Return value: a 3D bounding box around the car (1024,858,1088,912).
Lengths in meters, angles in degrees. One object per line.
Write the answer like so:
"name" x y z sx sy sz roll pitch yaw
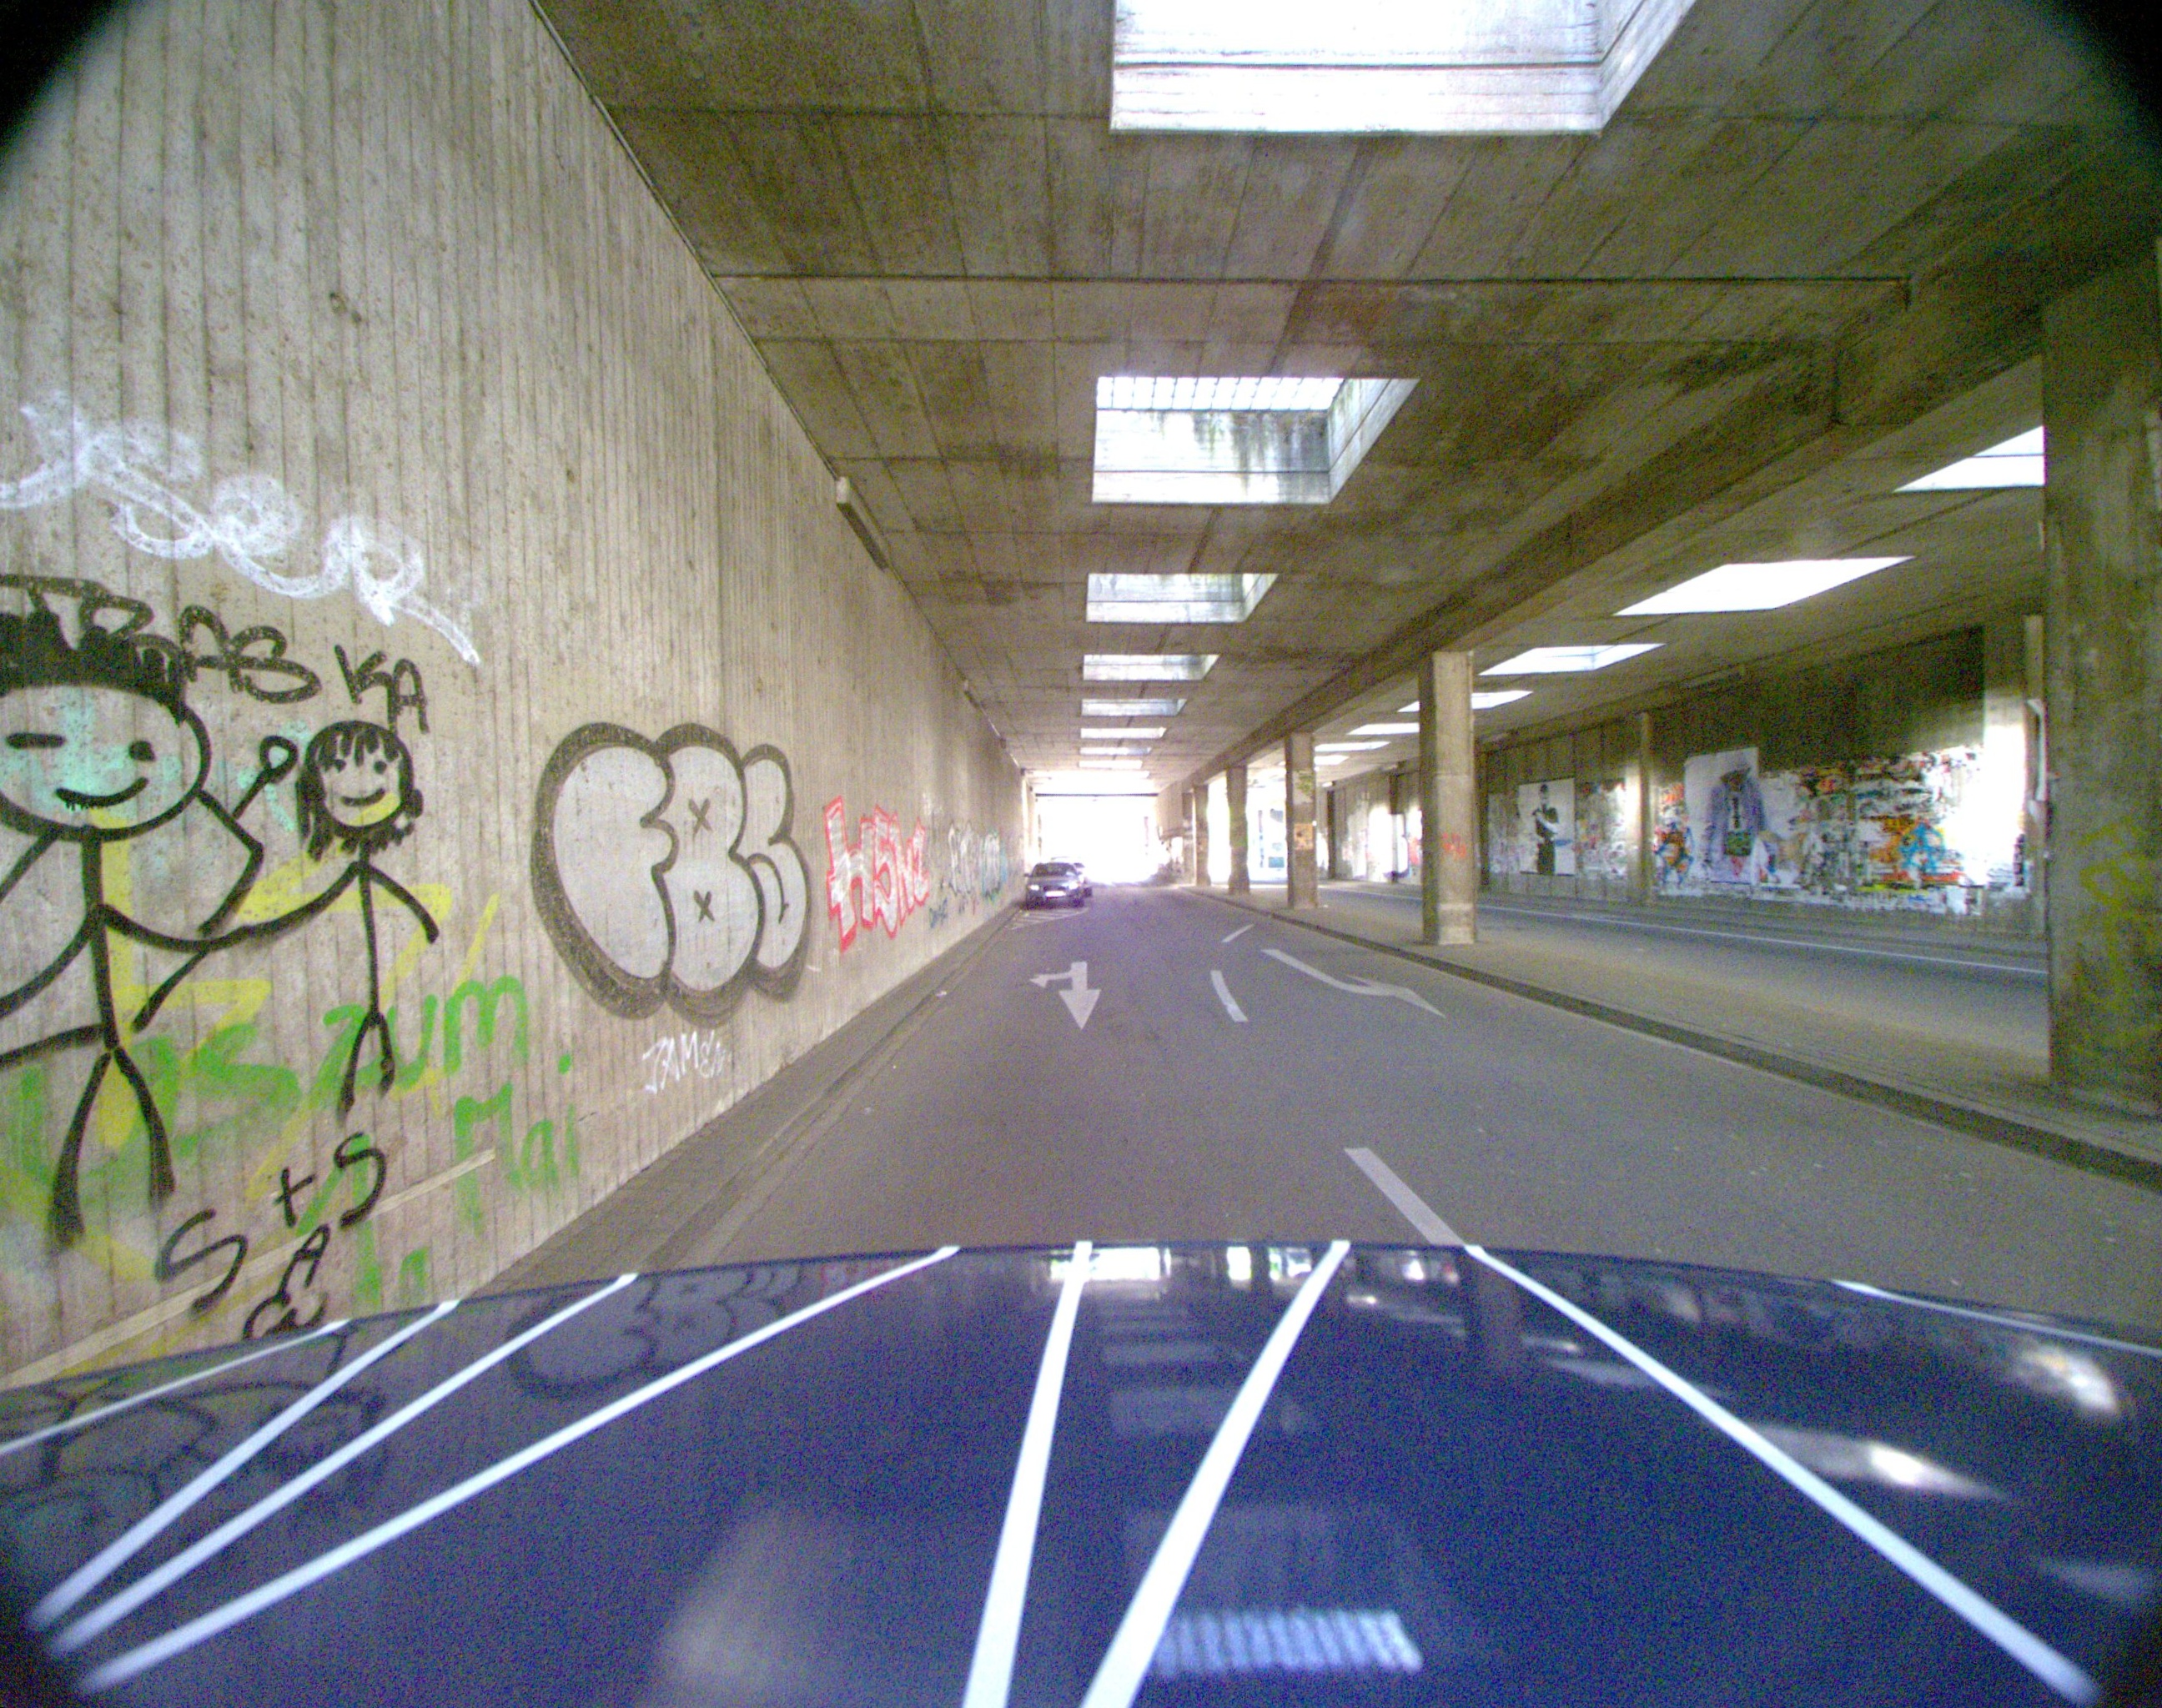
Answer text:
"car" -0.712 0.905 24.072 1.808 1.460 4.000 -2 0 1

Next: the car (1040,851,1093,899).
"car" -0.508 0.761 29.793 1.861 1.709 4.000 -2 0 1
